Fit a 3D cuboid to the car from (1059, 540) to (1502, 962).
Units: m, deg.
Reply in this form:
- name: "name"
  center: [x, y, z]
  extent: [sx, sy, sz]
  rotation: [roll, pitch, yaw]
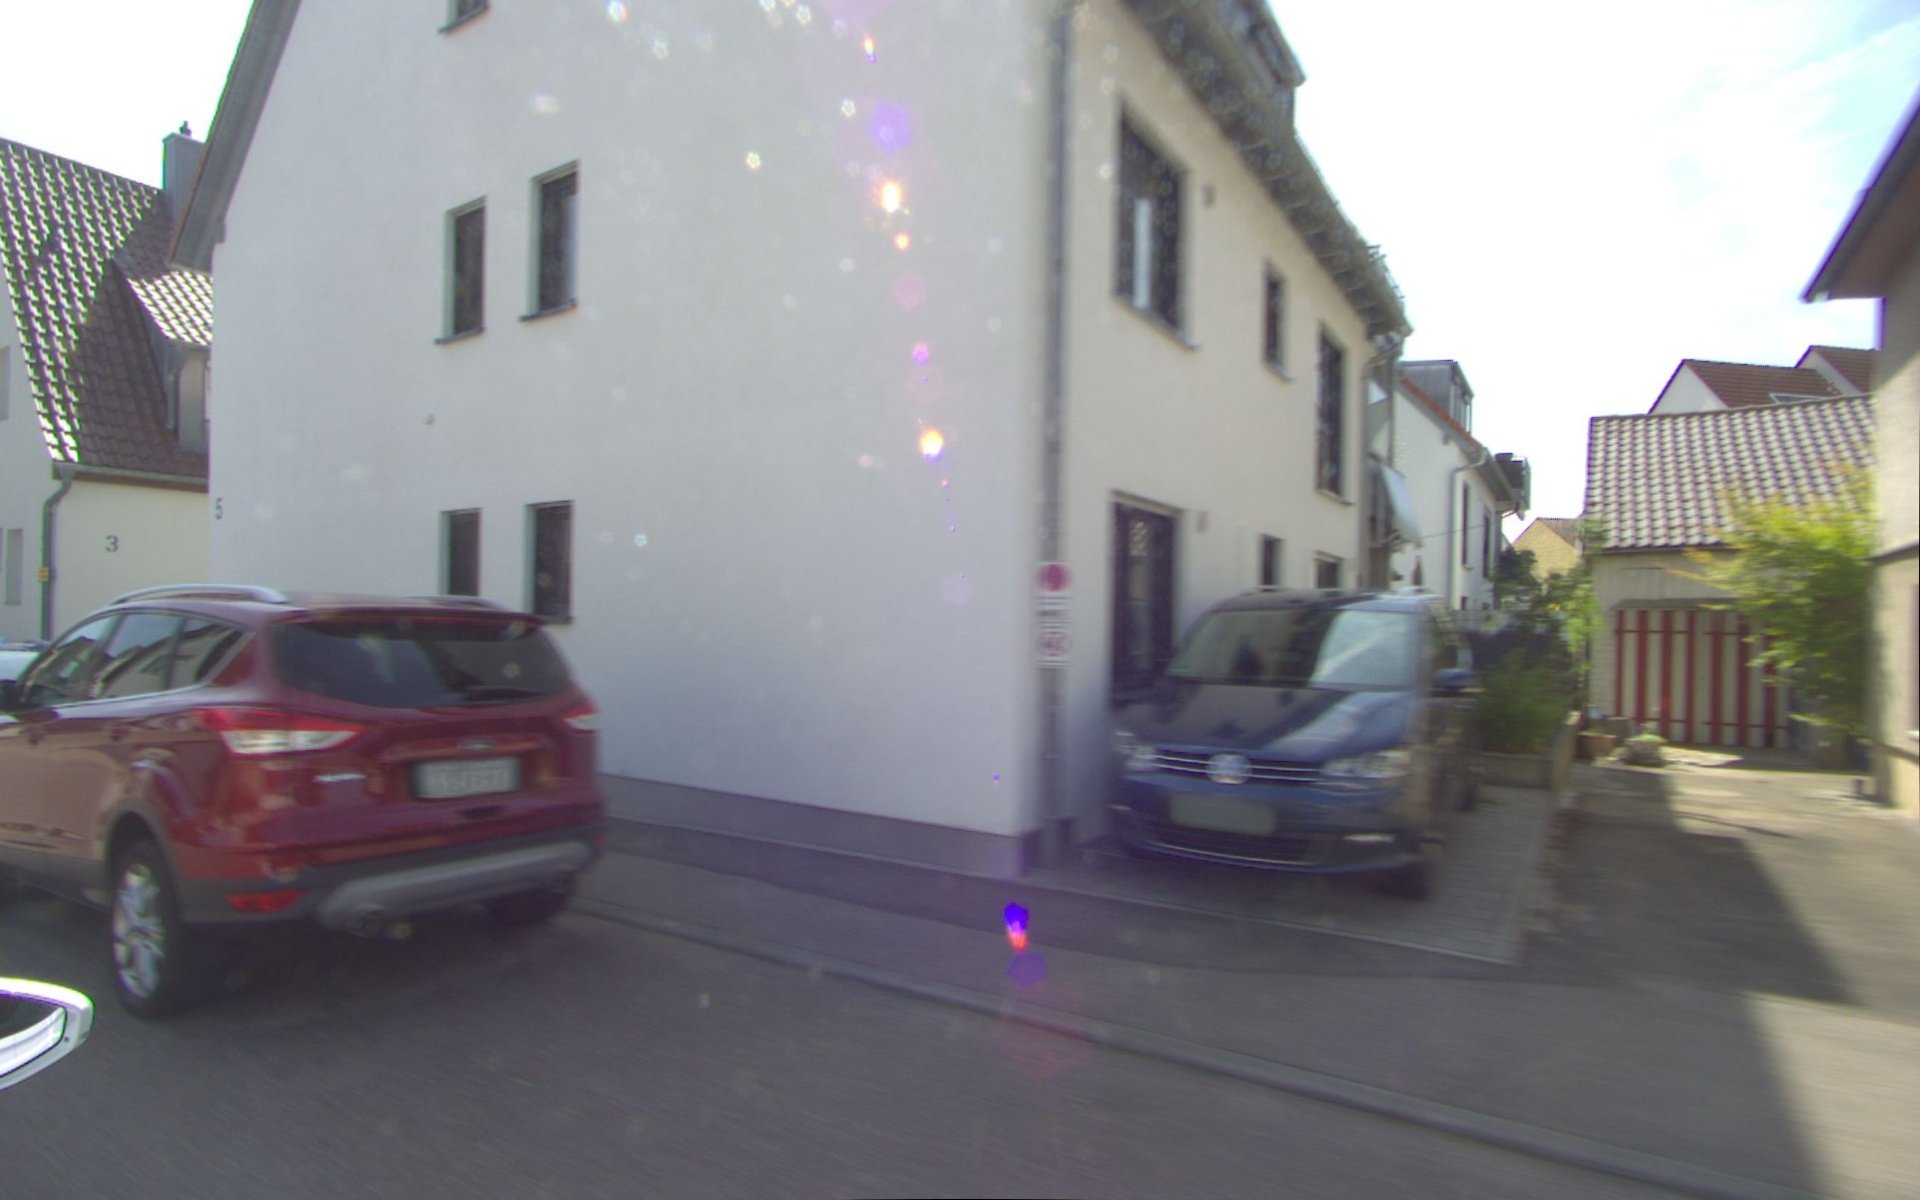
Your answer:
- name: "car"
  center: [2.531, 0.766, 6.899]
  extent: [1.970, 1.866, 4.511]
  rotation: [0, -2, 30]

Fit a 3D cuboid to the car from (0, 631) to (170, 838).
- name: "car"
  center: [-8.545, 0.981, 8.399]
  extent: [4.530, 1.442, 1.759]
  rotation: [-1, -2, 35]

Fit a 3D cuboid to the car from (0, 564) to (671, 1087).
- name: "car"
  center: [-3.644, 0.804, 5.262]
  extent: [4.125, 1.722, 1.872]
  rotation: [0, -3, 34]
